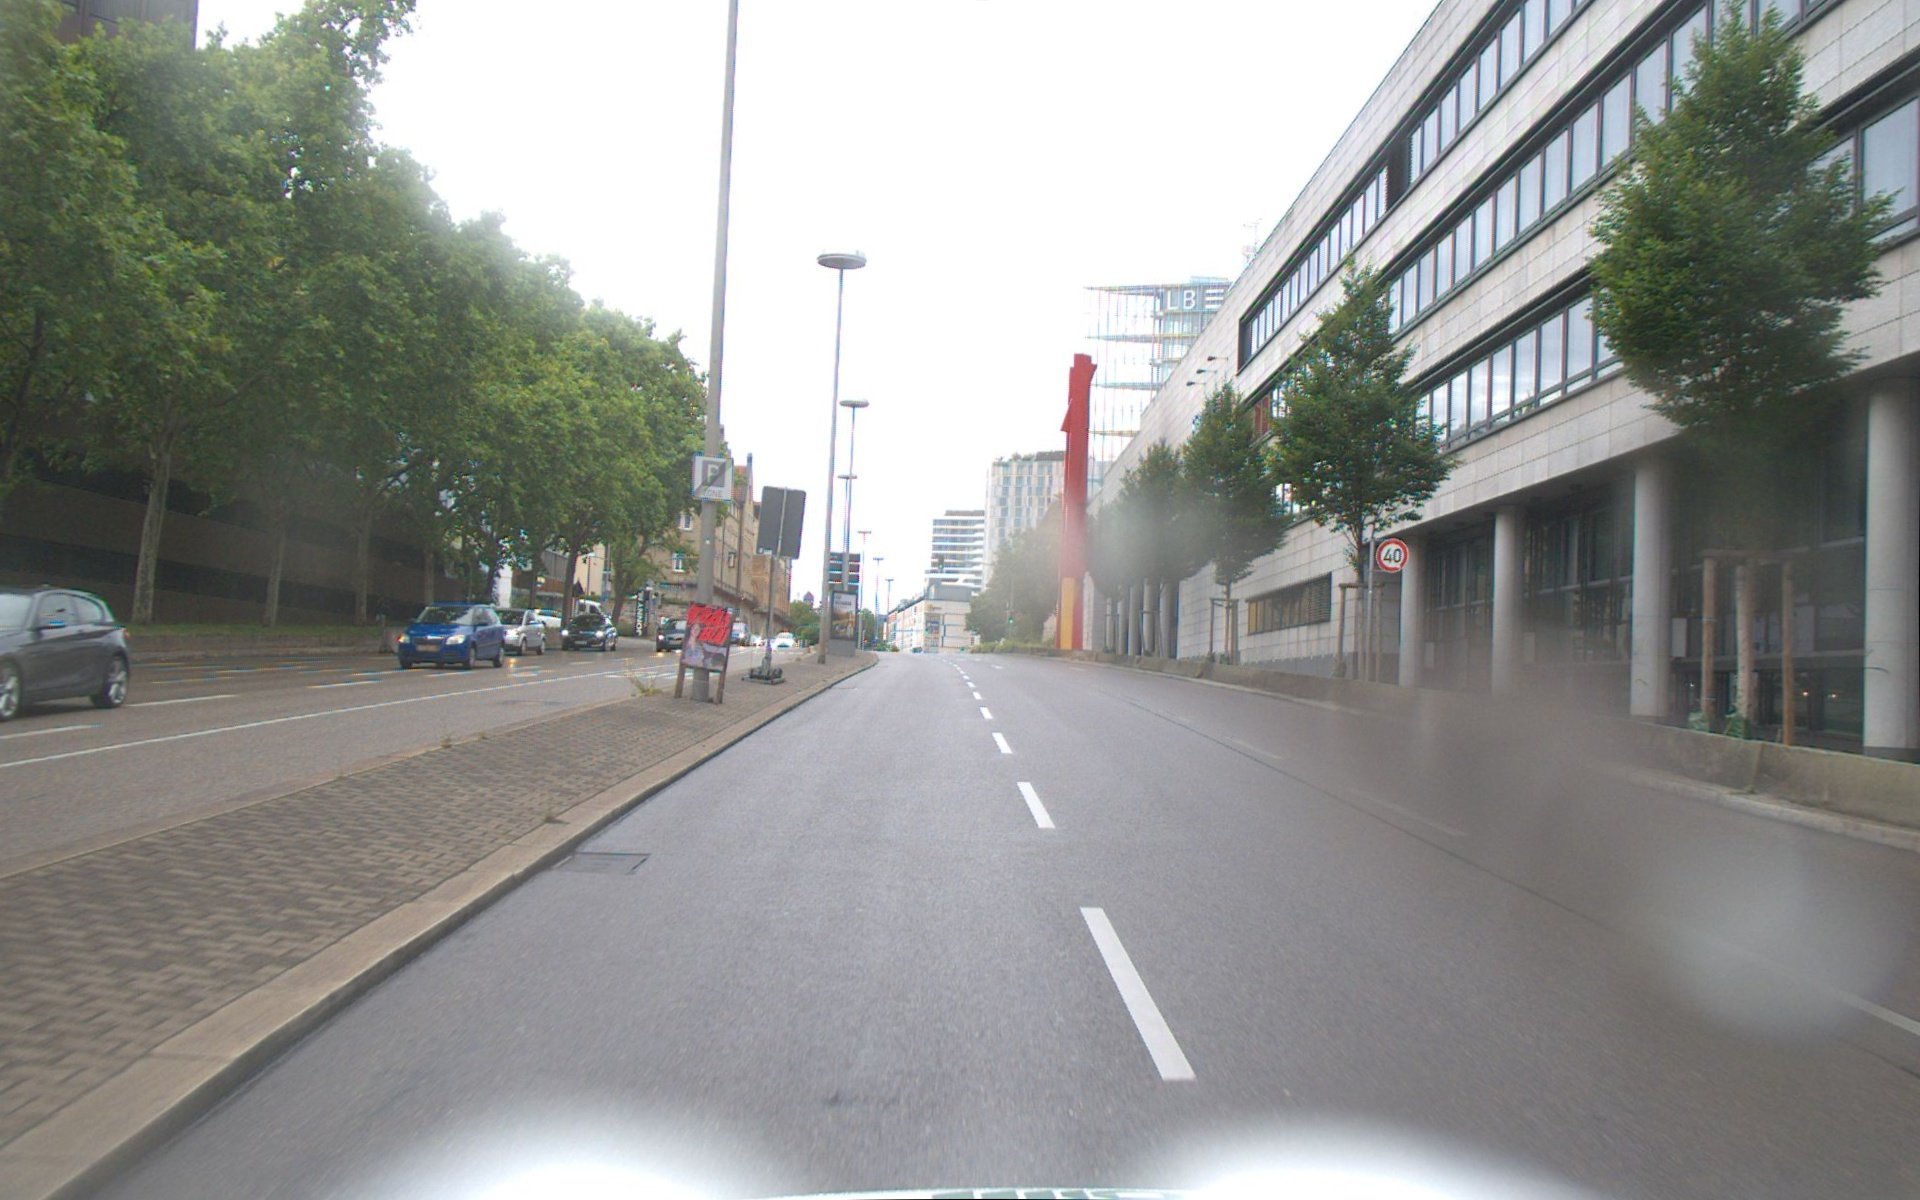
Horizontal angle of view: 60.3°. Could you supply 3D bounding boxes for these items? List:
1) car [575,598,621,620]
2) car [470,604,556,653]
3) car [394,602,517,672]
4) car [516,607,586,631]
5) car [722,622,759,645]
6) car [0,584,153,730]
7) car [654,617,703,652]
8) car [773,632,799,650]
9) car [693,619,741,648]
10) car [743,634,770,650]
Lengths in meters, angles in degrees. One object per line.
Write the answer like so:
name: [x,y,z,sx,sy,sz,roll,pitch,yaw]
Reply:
car: [-30.433,0.780,139.150,3.557,1.730,1.824,0,-2,-4]
car: [-14.929,0.941,55.420,1.565,1.517,3.757,2,0,4]
car: [-11.683,0.825,38.556,1.575,1.499,4.067,1,0,0]
car: [-27.696,1.310,112.117,1.789,1.537,4.558,-1,-3,37]
car: [-14.082,2.186,106.346,1.782,1.428,4.000,0,-2,1]
car: [-10.810,0.565,18.467,1.772,1.474,4.335,1,0,-5]
car: [-12.076,1.471,71.108,1.653,1.435,3.996,1,-1,-4]
car: [-15.028,3.546,142.967,1.782,1.494,4.000,0,-2,1]
car: [-12.595,1.780,85.822,1.782,1.428,4.000,0,-2,1]
car: [-17.939,3.715,146.239,1.782,1.409,4.000,0,-2,1]
